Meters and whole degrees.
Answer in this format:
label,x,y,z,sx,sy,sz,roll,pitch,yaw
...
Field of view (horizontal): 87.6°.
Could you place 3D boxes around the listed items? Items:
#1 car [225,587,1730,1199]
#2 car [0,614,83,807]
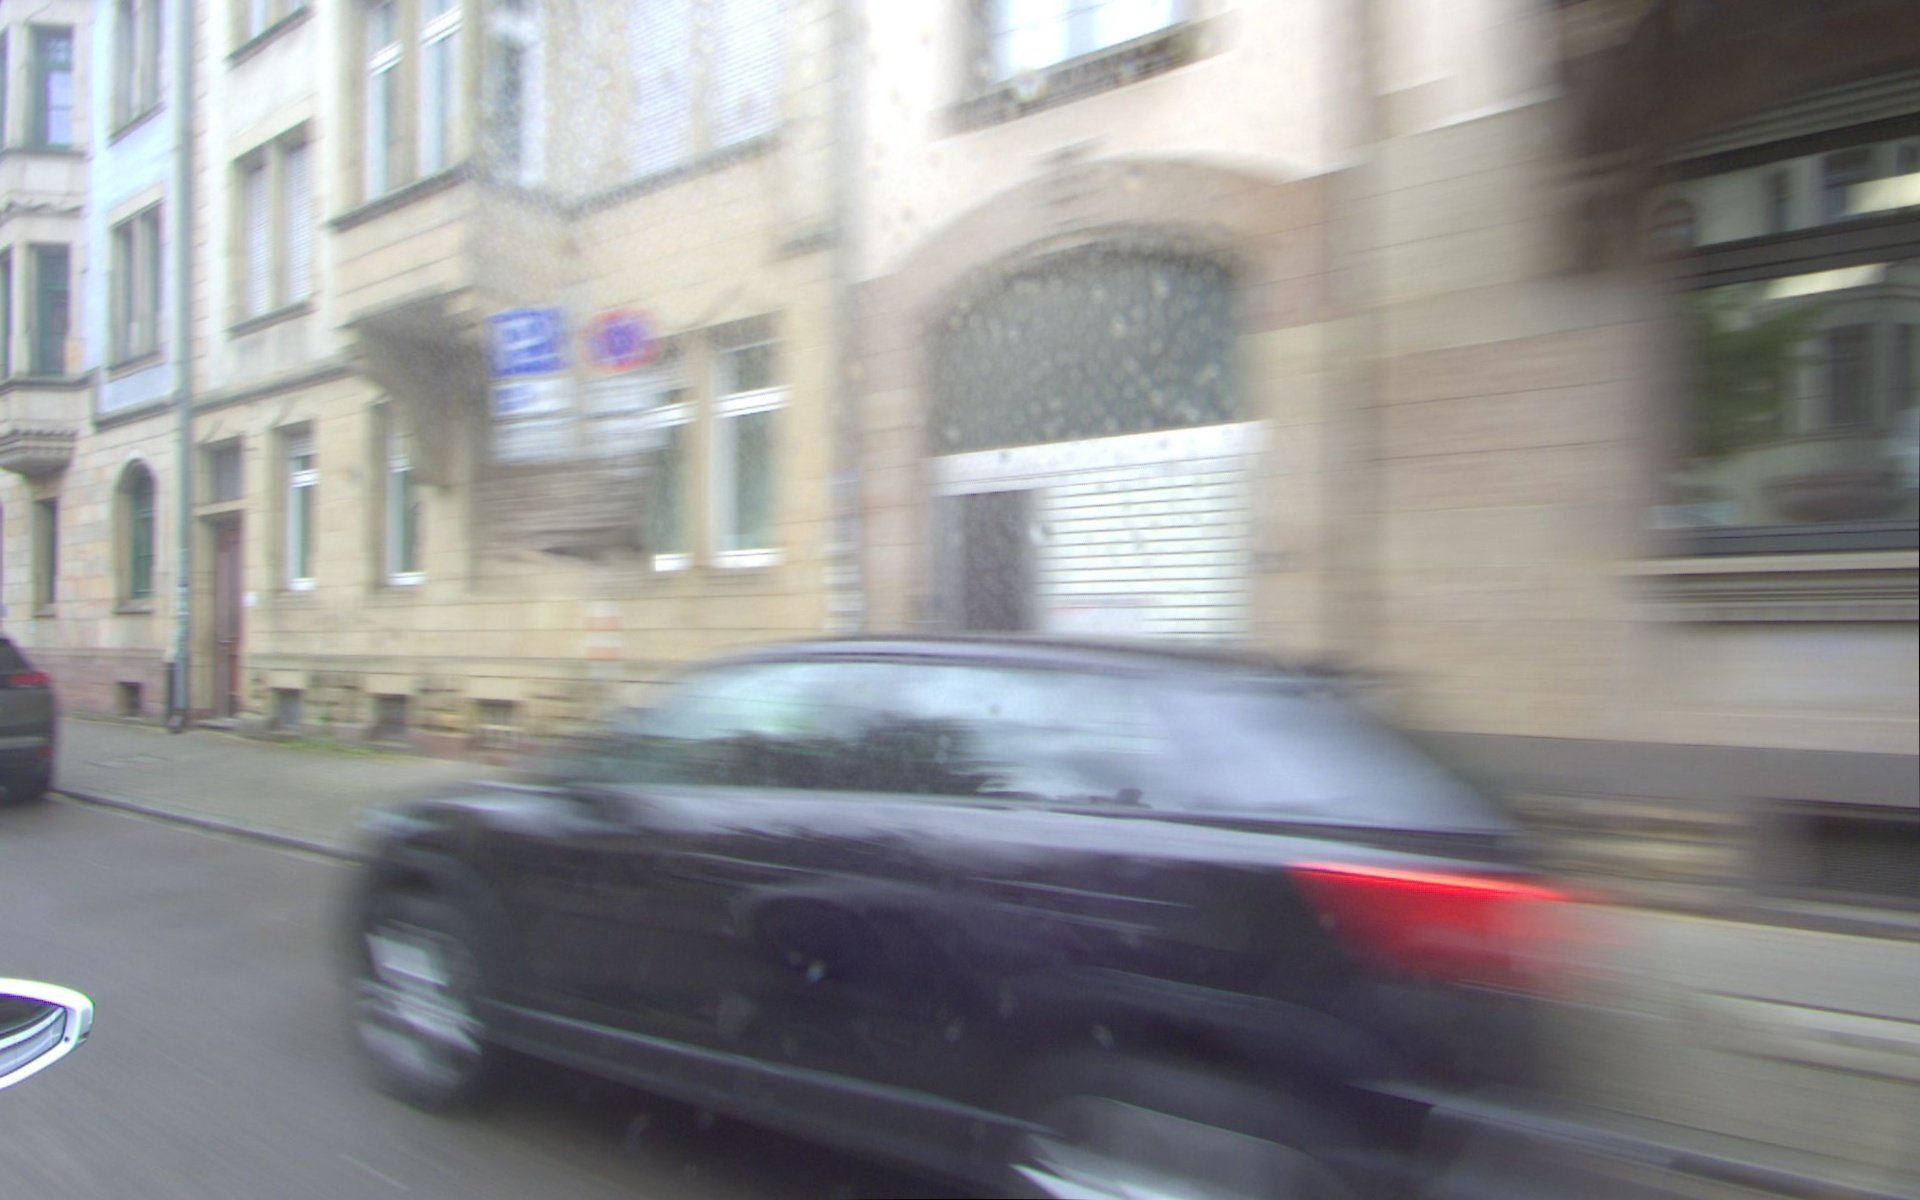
label,x,y,z,sx,sy,sz,roll,pitch,yaw
car,-0.343,0.843,3.293,4.354,1.531,1.697,-1,-5,30
car,-10.306,0.954,9.398,4.625,1.642,1.757,-1,-2,31
